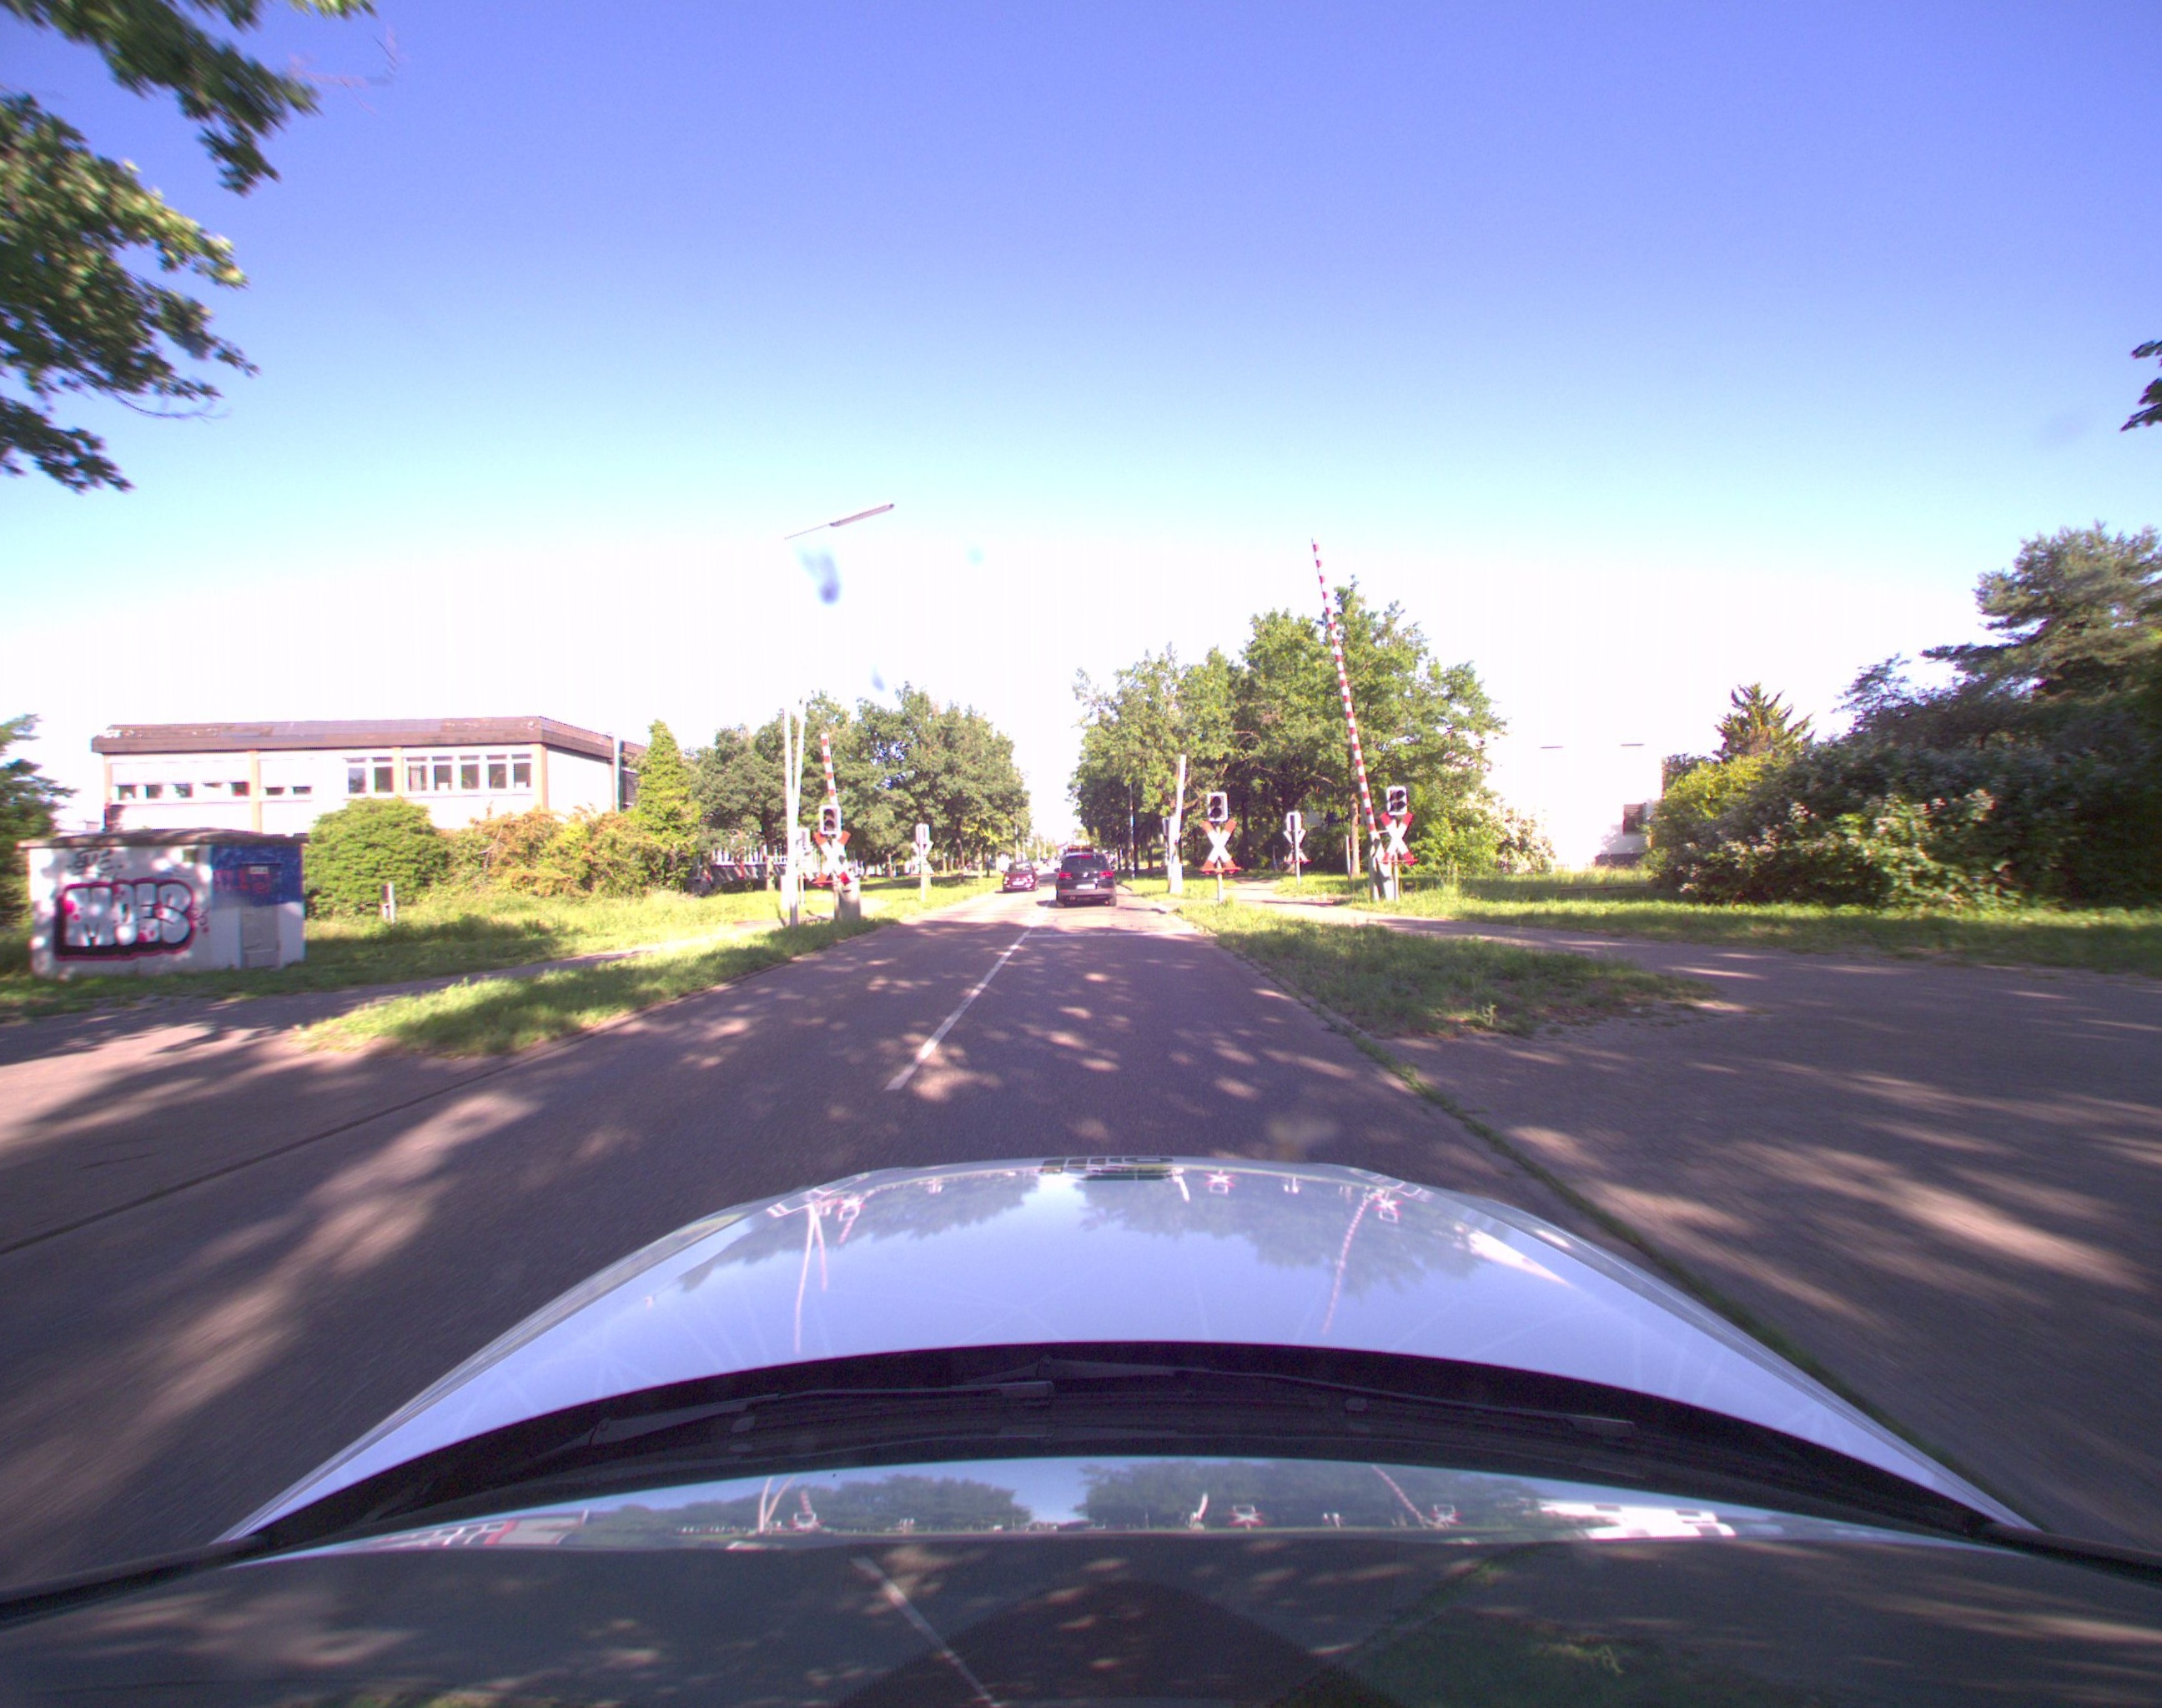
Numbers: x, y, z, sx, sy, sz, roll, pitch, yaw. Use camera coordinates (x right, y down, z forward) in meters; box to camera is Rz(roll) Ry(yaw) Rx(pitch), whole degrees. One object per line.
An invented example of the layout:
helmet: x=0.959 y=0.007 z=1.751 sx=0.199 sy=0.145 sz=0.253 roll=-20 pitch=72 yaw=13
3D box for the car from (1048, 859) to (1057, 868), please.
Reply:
car: x=-6.649 y=2.235 z=189.743 sx=1.991 sy=2.014 sz=3.992 roll=0 pitch=0 yaw=-6

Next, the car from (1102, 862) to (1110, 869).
car: x=5.242 y=2.452 z=170.803 sx=1.447 sy=1.406 sz=2.855 roll=0 pitch=0 yaw=1

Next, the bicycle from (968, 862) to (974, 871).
bicycle: x=-16.624 y=1.847 z=123.010 sx=0.715 sy=1.321 sz=1.990 roll=0 pitch=0 yaw=-1

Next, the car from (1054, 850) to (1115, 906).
car: x=0.179 y=0.707 z=25.826 sx=1.775 sy=1.633 sz=4.002 roll=0 pitch=0 yaw=2

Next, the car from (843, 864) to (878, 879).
car: x=-25.627 y=2.002 z=94.732 sx=3.343 sy=1.642 sz=2.003 roll=0 pitch=0 yaw=5

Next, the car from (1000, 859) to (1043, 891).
car: x=-2.898 y=1.015 z=40.536 sx=1.558 sy=1.504 sz=4.004 roll=0 pitch=0 yaw=4

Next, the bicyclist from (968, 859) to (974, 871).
bicyclist: x=-16.624 y=1.632 z=123.087 sx=0.684 sy=1.831 sz=0.933 roll=0 pitch=-1 yaw=-1

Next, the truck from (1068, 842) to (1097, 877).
truck: x=0.230 y=0.536 z=81.028 sx=2.502 sy=3.243 sz=8.155 roll=-2 pitch=0 yaw=2

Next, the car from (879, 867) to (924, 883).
car: x=-23.793 y=2.736 z=108.293 sx=5.791 sy=2.014 sz=1.993 roll=0 pitch=0 yaw=-11
